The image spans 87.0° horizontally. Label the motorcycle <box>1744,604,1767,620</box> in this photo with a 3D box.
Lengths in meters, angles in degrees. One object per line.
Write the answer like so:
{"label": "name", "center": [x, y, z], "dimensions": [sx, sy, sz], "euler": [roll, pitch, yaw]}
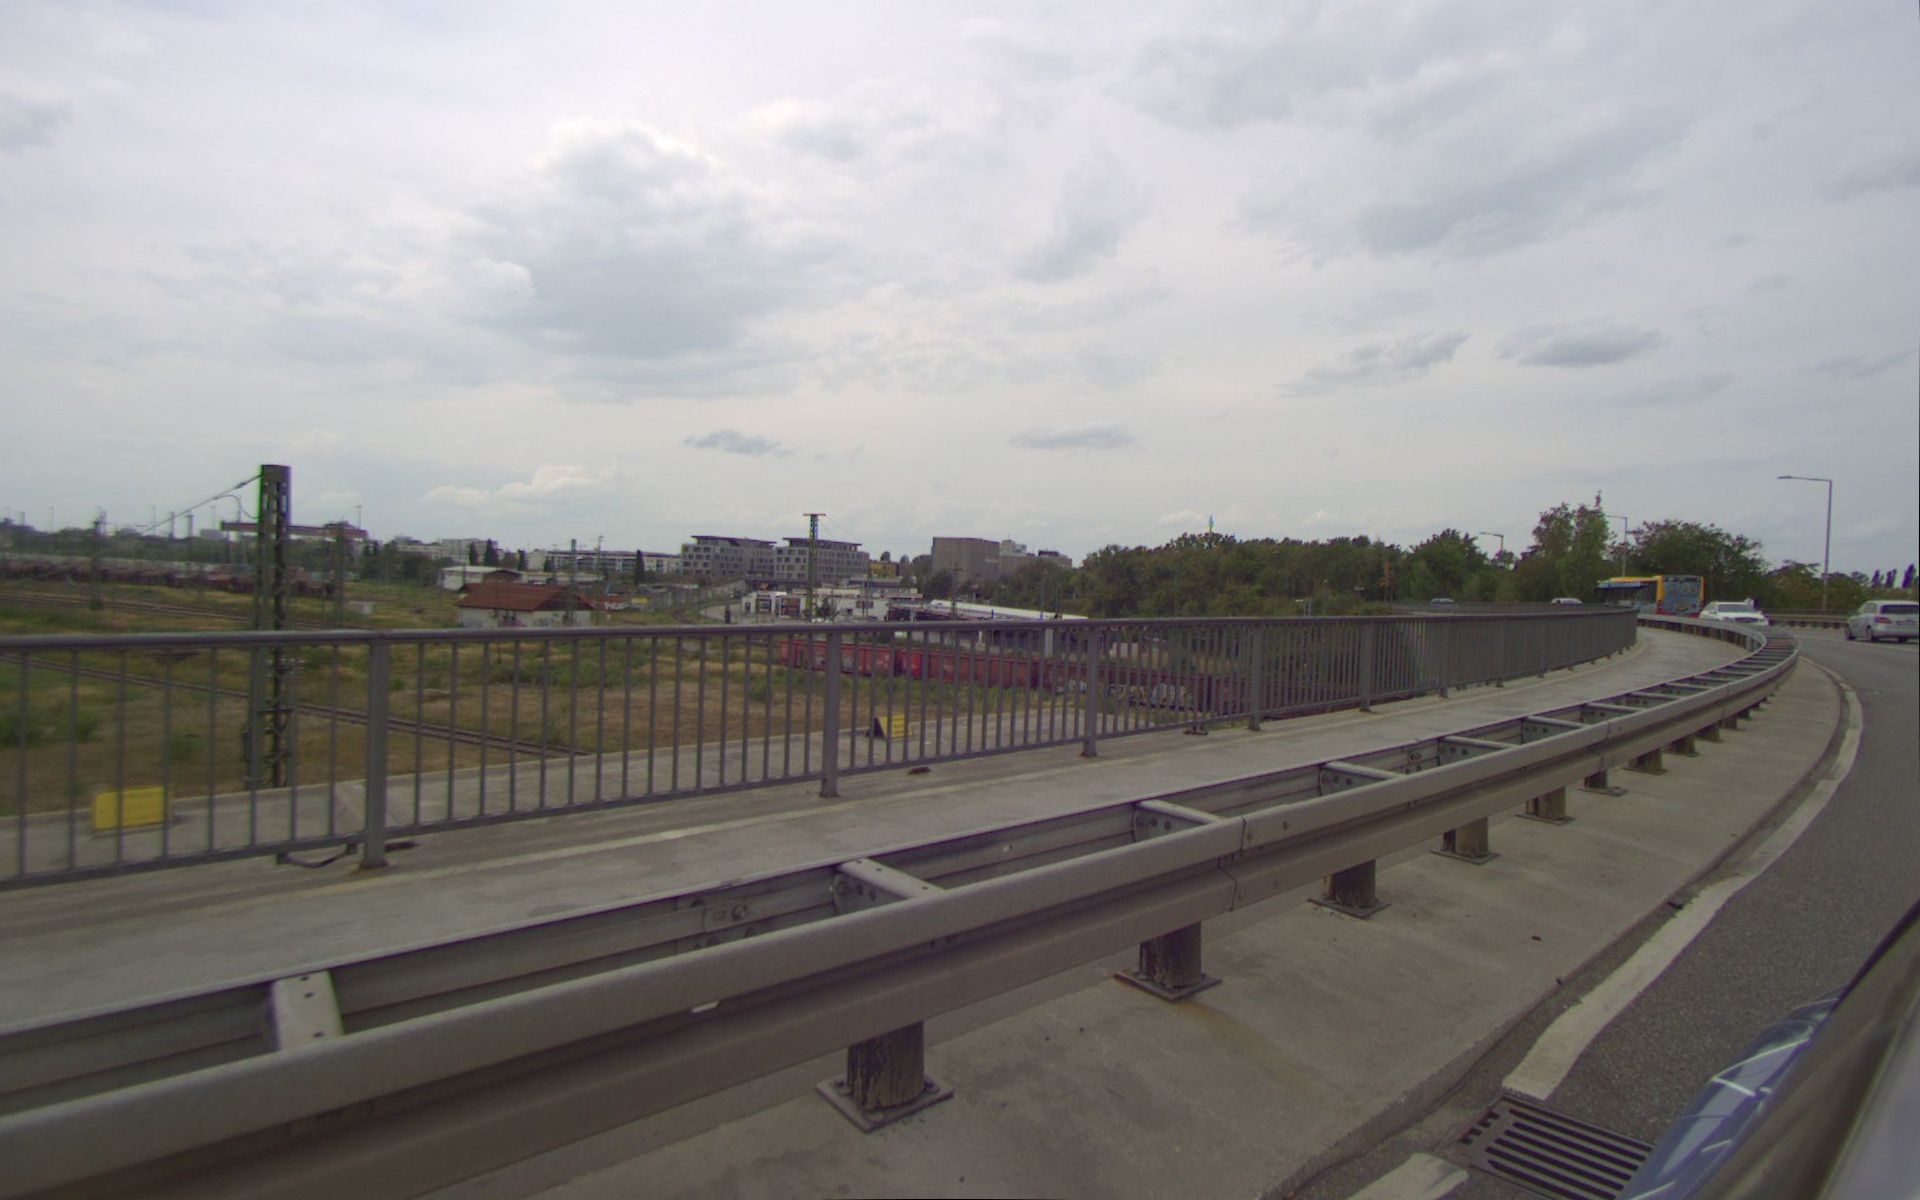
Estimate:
{"label": "motorcycle", "center": [50.393, 0.743, 64.129], "dimensions": [0.620, 0.975, 1.827], "euler": [0, 0, 21]}

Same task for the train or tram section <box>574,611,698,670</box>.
{"label": "train or tram section", "center": [-34.698, 4.131, 107.937], "dimensions": [15.449, 5.695, 3.760], "euler": [0, 0, 33]}

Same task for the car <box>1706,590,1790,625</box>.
{"label": "car", "center": [35.527, 0.325, 45.722], "dimensions": [1.915, 1.475, 3.859], "euler": [0, 0, 21]}

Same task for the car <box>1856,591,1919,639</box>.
{"label": "car", "center": [34.707, 0.508, 37.217], "dimensions": [1.808, 1.640, 4.351], "euler": [0, 1, 30]}

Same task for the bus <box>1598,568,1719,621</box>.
{"label": "bus", "center": [47.544, -0.417, 69.469], "dimensions": [3.000, 3.274, 12.882], "euler": [0, 1, 17]}

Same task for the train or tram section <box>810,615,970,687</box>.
{"label": "train or tram section", "center": [-6.437, 4.341, 90.166], "dimensions": [14.900, 5.748, 3.932], "euler": [0, 0, 32]}

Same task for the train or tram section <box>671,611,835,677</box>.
{"label": "train or tram section", "center": [-20.477, 4.108, 98.915], "dimensions": [18.135, 5.713, 3.915], "euler": [0, 0, 32]}

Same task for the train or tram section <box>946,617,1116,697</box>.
{"label": "train or tram section", "center": [5.626, 4.451, 82.414], "dimensions": [13.810, 5.749, 3.798], "euler": [0, 0, 34]}

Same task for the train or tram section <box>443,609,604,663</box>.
{"label": "train or tram section", "center": [-51.834, 3.997, 119.135], "dimensions": [25.500, 5.549, 3.947], "euler": [0, 0, 33]}

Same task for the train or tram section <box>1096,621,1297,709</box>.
{"label": "train or tram section", "center": [17.117, 4.530, 74.473], "dimensions": [14.167, 5.669, 3.612], "euler": [0, 0, 36]}

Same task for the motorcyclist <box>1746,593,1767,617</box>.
{"label": "motorcyclist", "center": [50.415, 0.311, 64.057], "dimensions": [0.802, 1.549, 0.819], "euler": [0, 0, 20]}

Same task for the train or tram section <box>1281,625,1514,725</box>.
{"label": "train or tram section", "center": [28.348, 4.627, 66.274], "dimensions": [13.572, 5.644, 3.604], "euler": [0, 0, 37]}

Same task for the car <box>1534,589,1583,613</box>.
{"label": "car", "center": [44.751, 0.123, 75.708], "dimensions": [1.935, 1.726, 4.412], "euler": [0, -1, 14]}
